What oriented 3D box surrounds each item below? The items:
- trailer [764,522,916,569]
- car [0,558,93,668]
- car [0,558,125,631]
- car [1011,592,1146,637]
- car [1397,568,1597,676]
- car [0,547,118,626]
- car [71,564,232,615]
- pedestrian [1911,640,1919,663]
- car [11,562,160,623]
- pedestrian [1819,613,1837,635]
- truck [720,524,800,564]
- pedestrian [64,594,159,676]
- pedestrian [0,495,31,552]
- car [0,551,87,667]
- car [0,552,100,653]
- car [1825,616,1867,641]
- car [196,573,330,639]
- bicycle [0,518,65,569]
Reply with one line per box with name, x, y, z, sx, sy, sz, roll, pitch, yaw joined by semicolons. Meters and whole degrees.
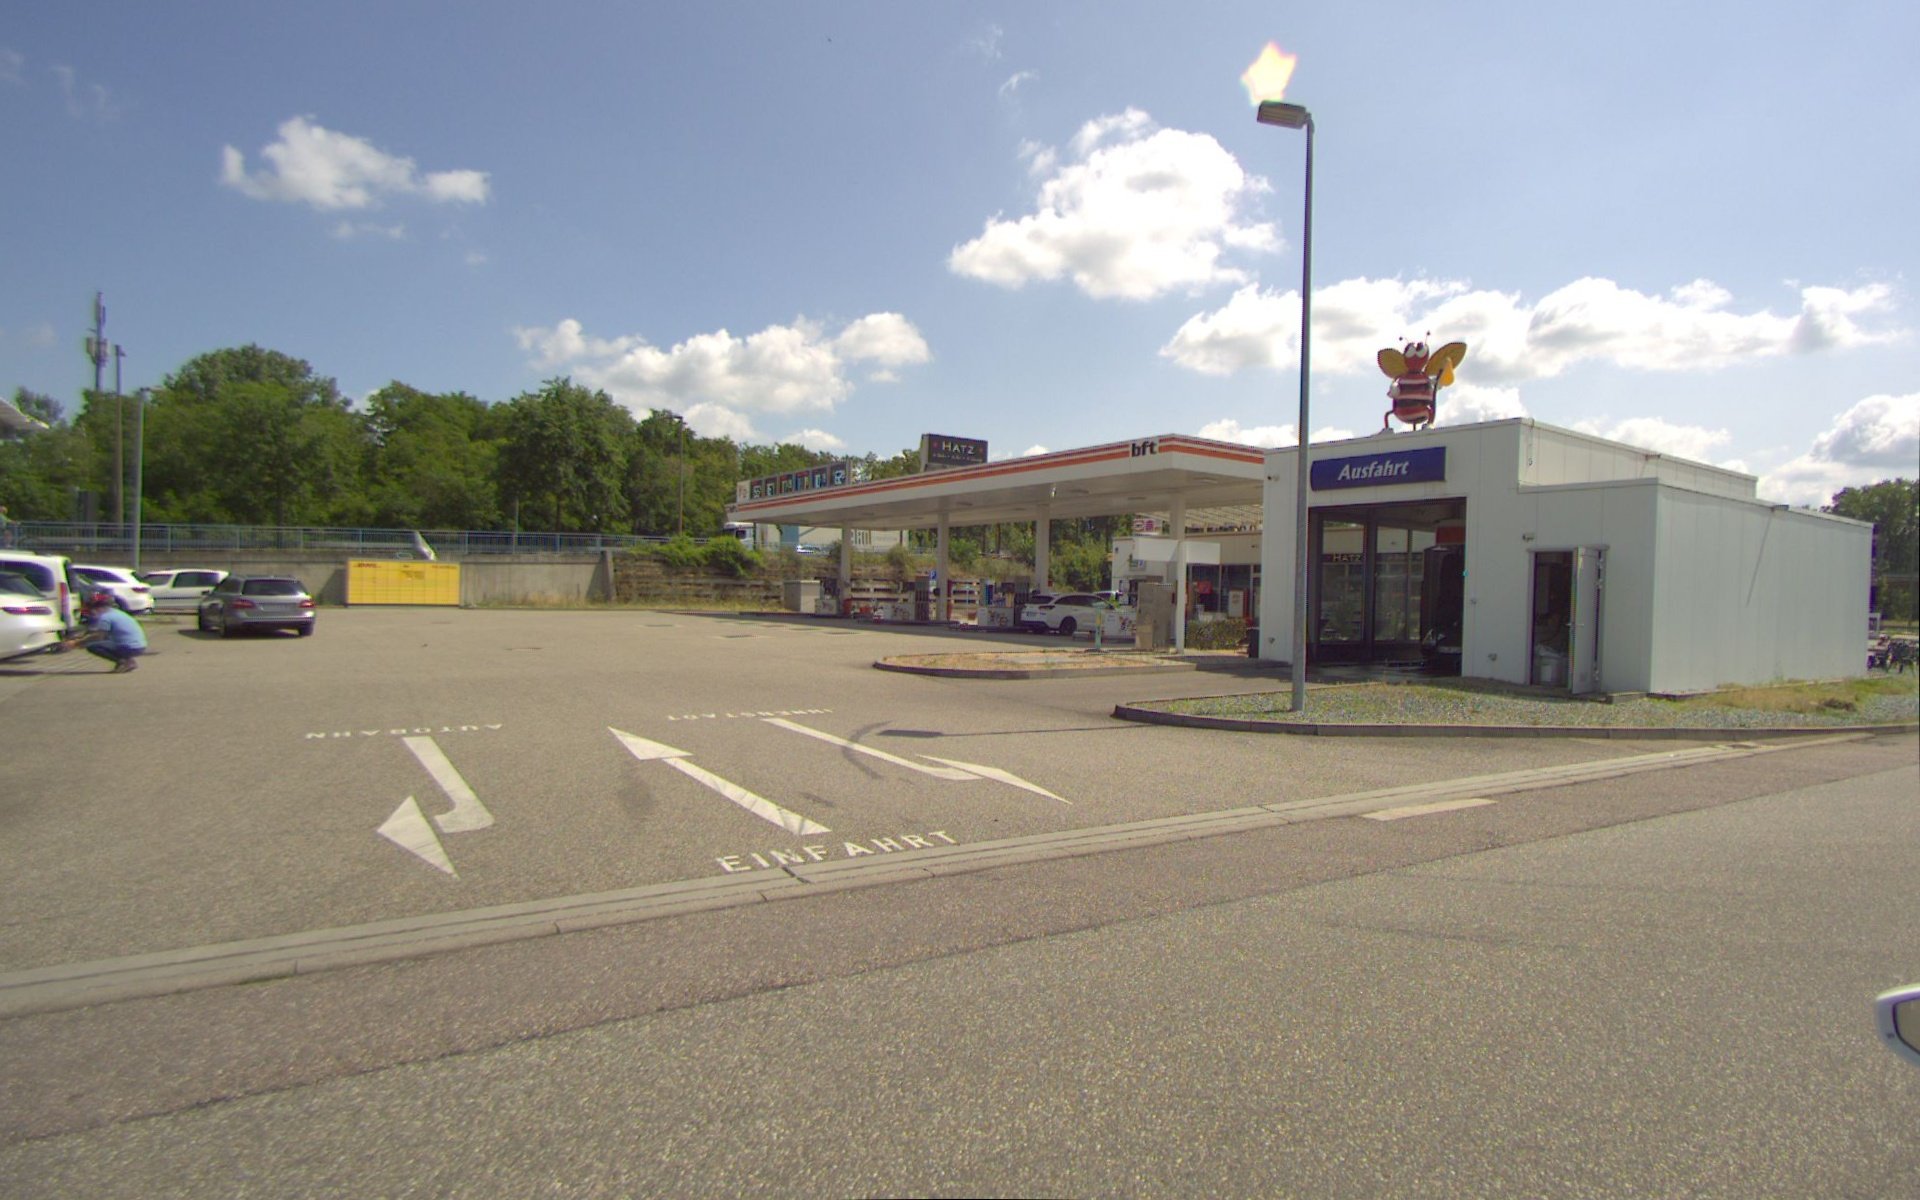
trailer;-9.625;-4.380;82.634;13.384;3.004;2.126;2;0;-40
car;-14.362;0.126;13.224;4.276;1.457;1.876;2;0;-37
car;-22.290;-0.142;23.121;4.555;1.619;1.979;2;0;-37
car;4.163;0.517;35.132;4.536;1.450;1.881;2;0;-32
car;11.919;0.500;22.174;4.964;2.137;1.979;2;0;-37
car;-20.398;-0.313;20.661;4.555;1.573;1.979;2;0;-37
car;-28.302;-0.325;35.251;4.280;1.624;1.976;2;-1;-41
pedestrian;33.002;1.766;34.120;0.810;0.770;0.856;2;1;-37
car;-24.980;-0.186;28.828;3.095;1.646;1.258;2;0;-37
pedestrian;63.509;1.775;73.512;0.709;1.600;0.712;2;0;-9
truck;-15.457;-4.296;77.805;5.796;2.661;2.126;2;0;-39
pedestrian;-12.358;0.498;14.665;0.989;1.141;0.802;2;0;-37
pedestrian;-34.777;-2.800;37.008;0.762;2.021;0.584;2;0;-41
car;-16.630;0.088;15.460;4.551;1.790;1.981;2;0;-35
car;-18.513;0.007;17.979;4.555;1.802;1.979;2;0;-37
car;62.059;1.975;70.343;1.911;1.538;4.744;3;2;45
car;-17.672;0.128;25.391;4.467;1.508;1.912;1;0;44
bicycle;-34.789;-2.074;36.983;2.672;1.773;0.529;2;0;-41
